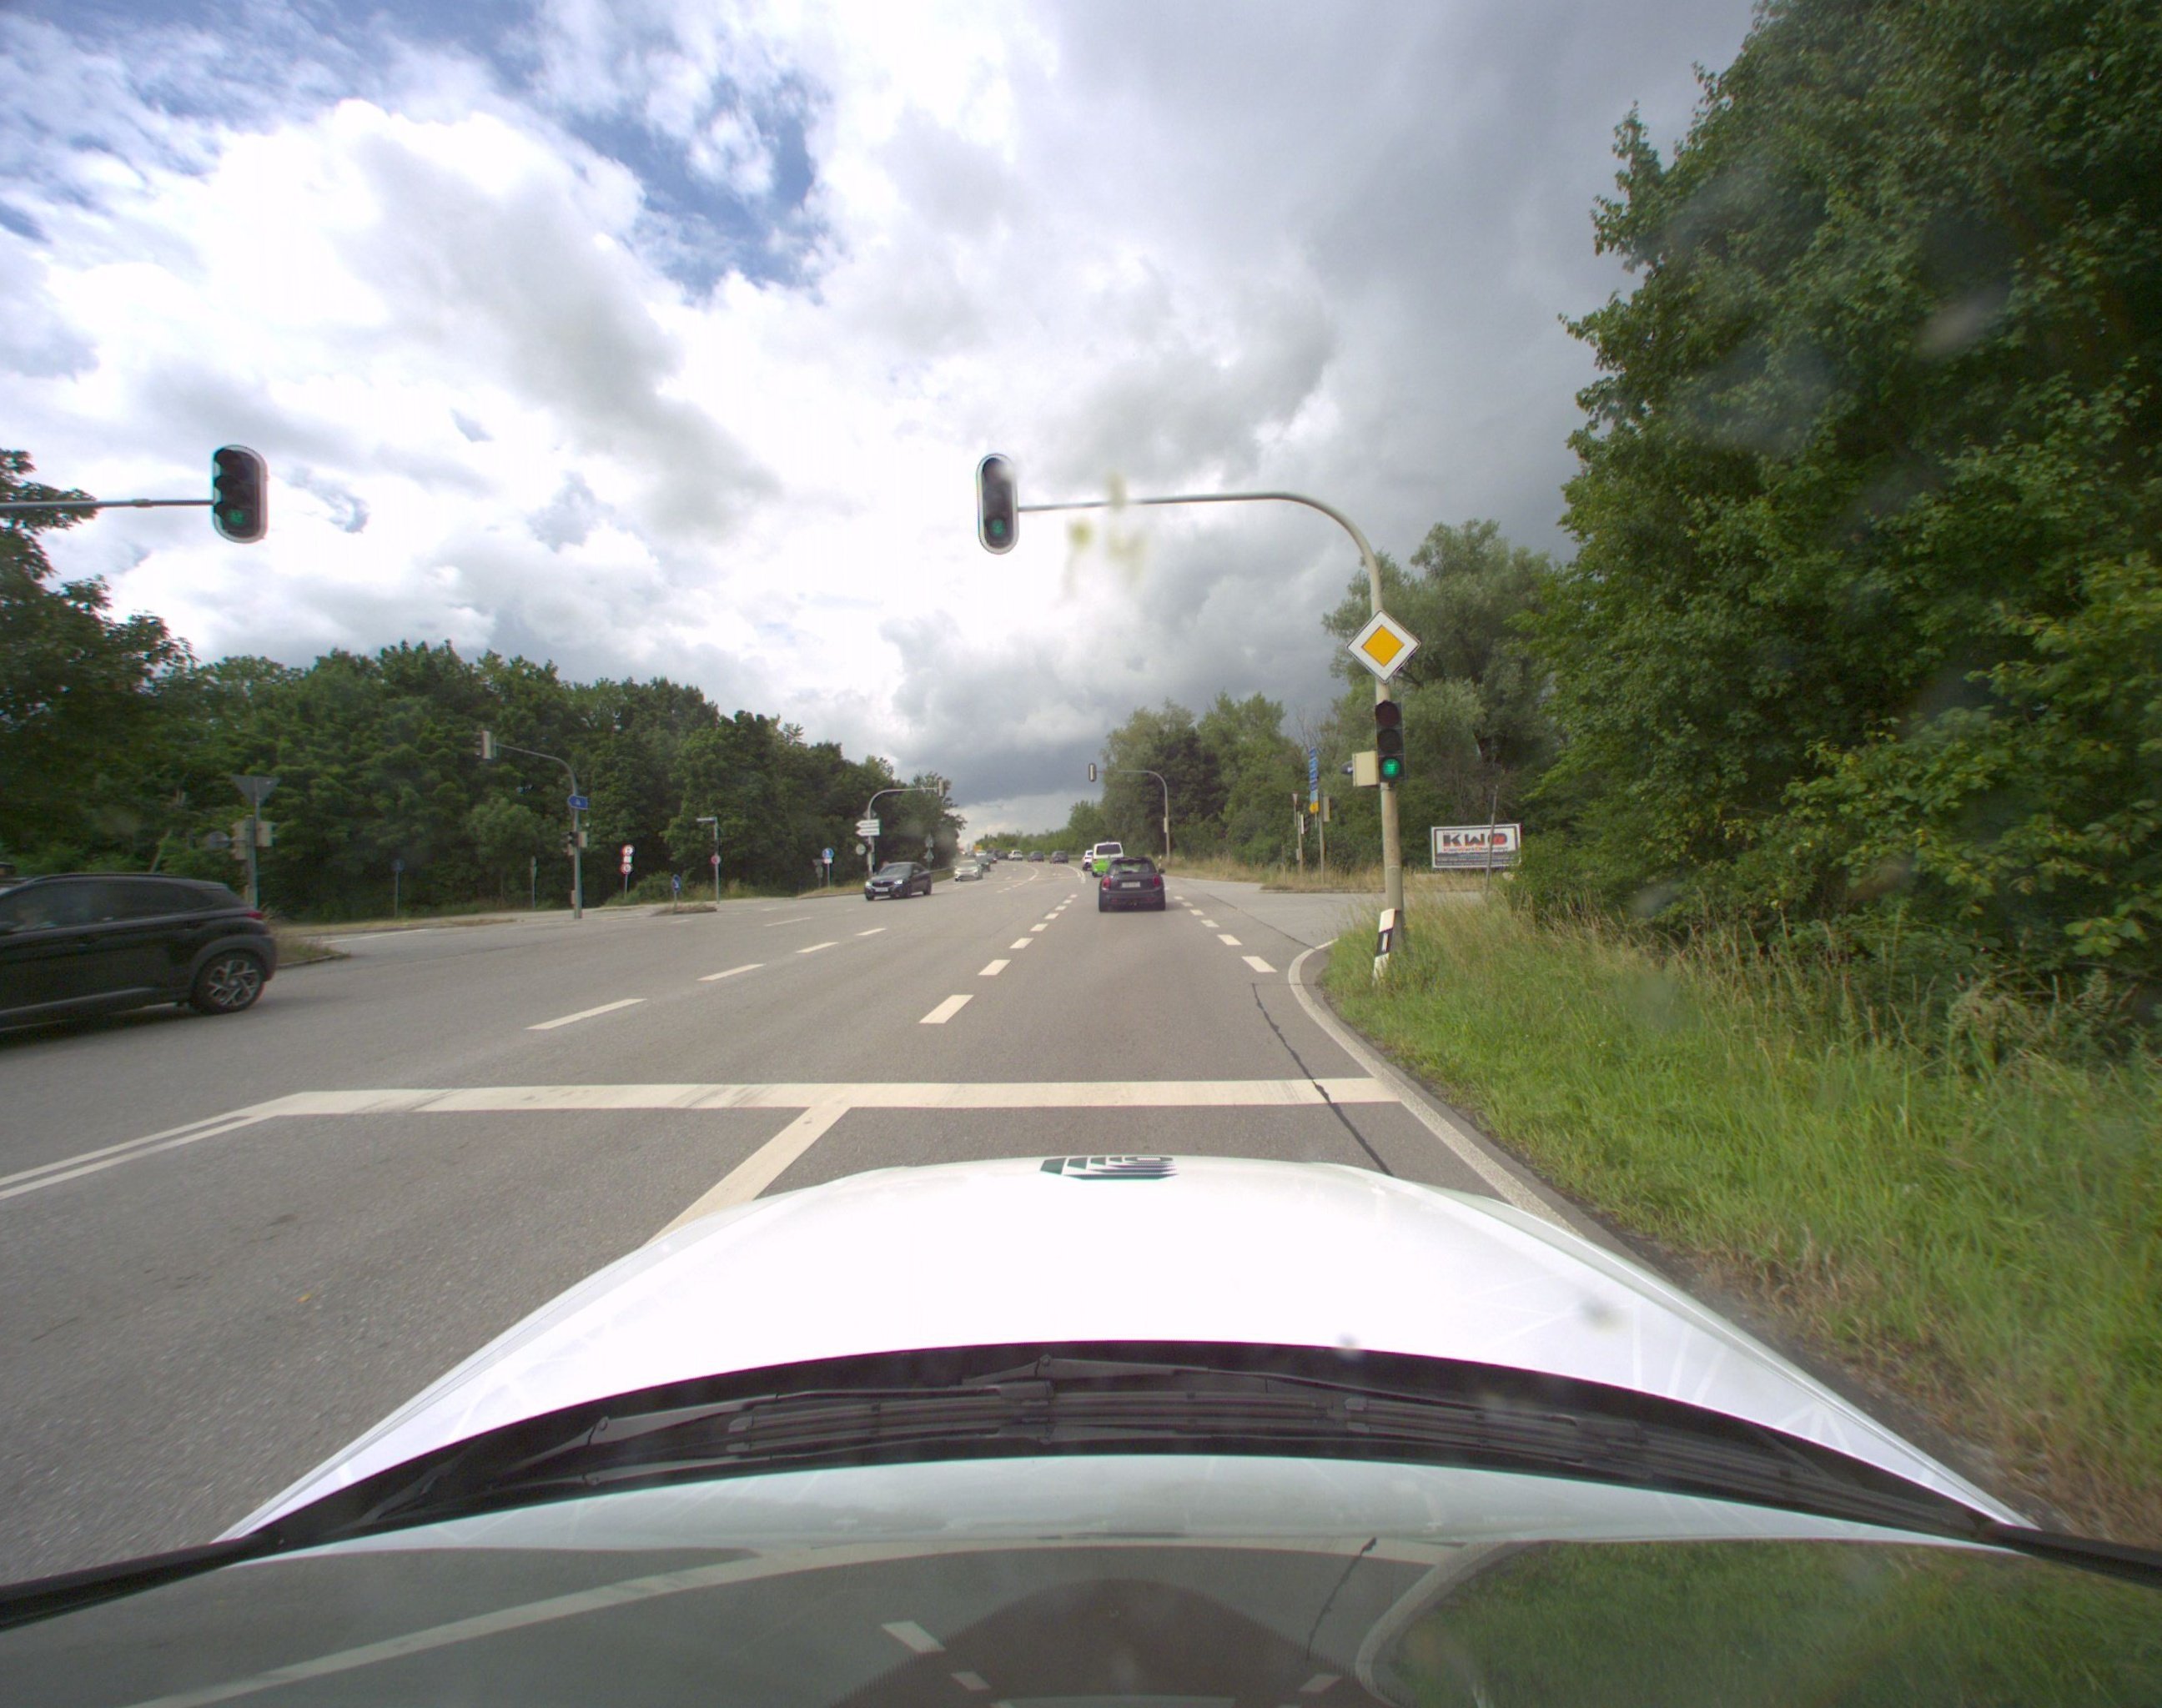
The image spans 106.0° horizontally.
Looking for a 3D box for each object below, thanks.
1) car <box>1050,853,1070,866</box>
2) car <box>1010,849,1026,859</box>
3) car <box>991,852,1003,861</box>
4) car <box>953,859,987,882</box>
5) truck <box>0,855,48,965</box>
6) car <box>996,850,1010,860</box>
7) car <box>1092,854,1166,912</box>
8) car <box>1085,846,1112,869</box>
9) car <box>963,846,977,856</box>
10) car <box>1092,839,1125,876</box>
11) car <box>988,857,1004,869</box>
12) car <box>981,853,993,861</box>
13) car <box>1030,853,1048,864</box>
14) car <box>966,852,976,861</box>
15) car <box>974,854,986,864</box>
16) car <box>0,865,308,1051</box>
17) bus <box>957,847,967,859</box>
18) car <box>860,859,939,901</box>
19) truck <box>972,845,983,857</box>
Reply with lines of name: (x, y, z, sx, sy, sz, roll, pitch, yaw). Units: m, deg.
car: (-2.543, 0.700, 97.601, 1.992, 1.476, 4.473, -1, -1, -8)
car: (-10.137, 0.032, 130.370, 1.995, 1.476, 4.466, -1, -1, -12)
car: (-16.774, 0.525, 162.702, 1.995, 1.696, 4.466, -1, -1, -13)
car: (-8.142, 1.170, 60.078, 1.722, 1.505, 4.349, -2, 0, 2)
truck: (-33.871, 1.708, 21.702, 7.911, 3.037, 2.879, -2, 1, -8)
car: (-14.165, 0.261, 148.134, 1.995, 1.696, 4.466, -1, -1, -13)
car: (1.288, 0.729, 22.537, 1.838, 1.428, 3.842, -1, 0, 2)
car: (1.310, 0.266, 62.622, 1.987, 1.684, 4.000, -2, -1, 0)
car: (-18.531, -0.515, 135.775, 1.994, 1.690, 3.986, -2, 1, -10)
car: (1.595, 0.139, 48.170, 1.838, 1.986, 3.842, -2, 2, 1)
car: (-12.142, 1.211, 116.384, 1.733, 1.405, 4.249, -7, 1, -1)
car: (-20.838, 0.714, 180.882, 1.997, 1.696, 4.463, -1, -1, -15)
car: (-5.932, 0.636, 114.931, 1.994, 1.476, 4.469, -1, -1, -10)
car: (-24.005, 0.548, 177.705, 1.995, 2.013, 3.984, -1, 0, -12)
car: (-18.794, 0.904, 151.845, 1.991, 1.613, 3.991, -2, 1, -7)
car: (-10.116, 0.930, 7.632, 1.784, 1.573, 4.002, -2, 0, 2)
bus: (-34.711, -0.392, 237.231, 1.996, 3.302, 7.395, -2, 1, -13)
car: (-7.666, 1.054, 34.913, 1.780, 1.530, 4.910, -4, -1, 5)
truck: (-27.671, -0.695, 217.540, 2.716, 2.898, 8.742, -1, -2, -9)
